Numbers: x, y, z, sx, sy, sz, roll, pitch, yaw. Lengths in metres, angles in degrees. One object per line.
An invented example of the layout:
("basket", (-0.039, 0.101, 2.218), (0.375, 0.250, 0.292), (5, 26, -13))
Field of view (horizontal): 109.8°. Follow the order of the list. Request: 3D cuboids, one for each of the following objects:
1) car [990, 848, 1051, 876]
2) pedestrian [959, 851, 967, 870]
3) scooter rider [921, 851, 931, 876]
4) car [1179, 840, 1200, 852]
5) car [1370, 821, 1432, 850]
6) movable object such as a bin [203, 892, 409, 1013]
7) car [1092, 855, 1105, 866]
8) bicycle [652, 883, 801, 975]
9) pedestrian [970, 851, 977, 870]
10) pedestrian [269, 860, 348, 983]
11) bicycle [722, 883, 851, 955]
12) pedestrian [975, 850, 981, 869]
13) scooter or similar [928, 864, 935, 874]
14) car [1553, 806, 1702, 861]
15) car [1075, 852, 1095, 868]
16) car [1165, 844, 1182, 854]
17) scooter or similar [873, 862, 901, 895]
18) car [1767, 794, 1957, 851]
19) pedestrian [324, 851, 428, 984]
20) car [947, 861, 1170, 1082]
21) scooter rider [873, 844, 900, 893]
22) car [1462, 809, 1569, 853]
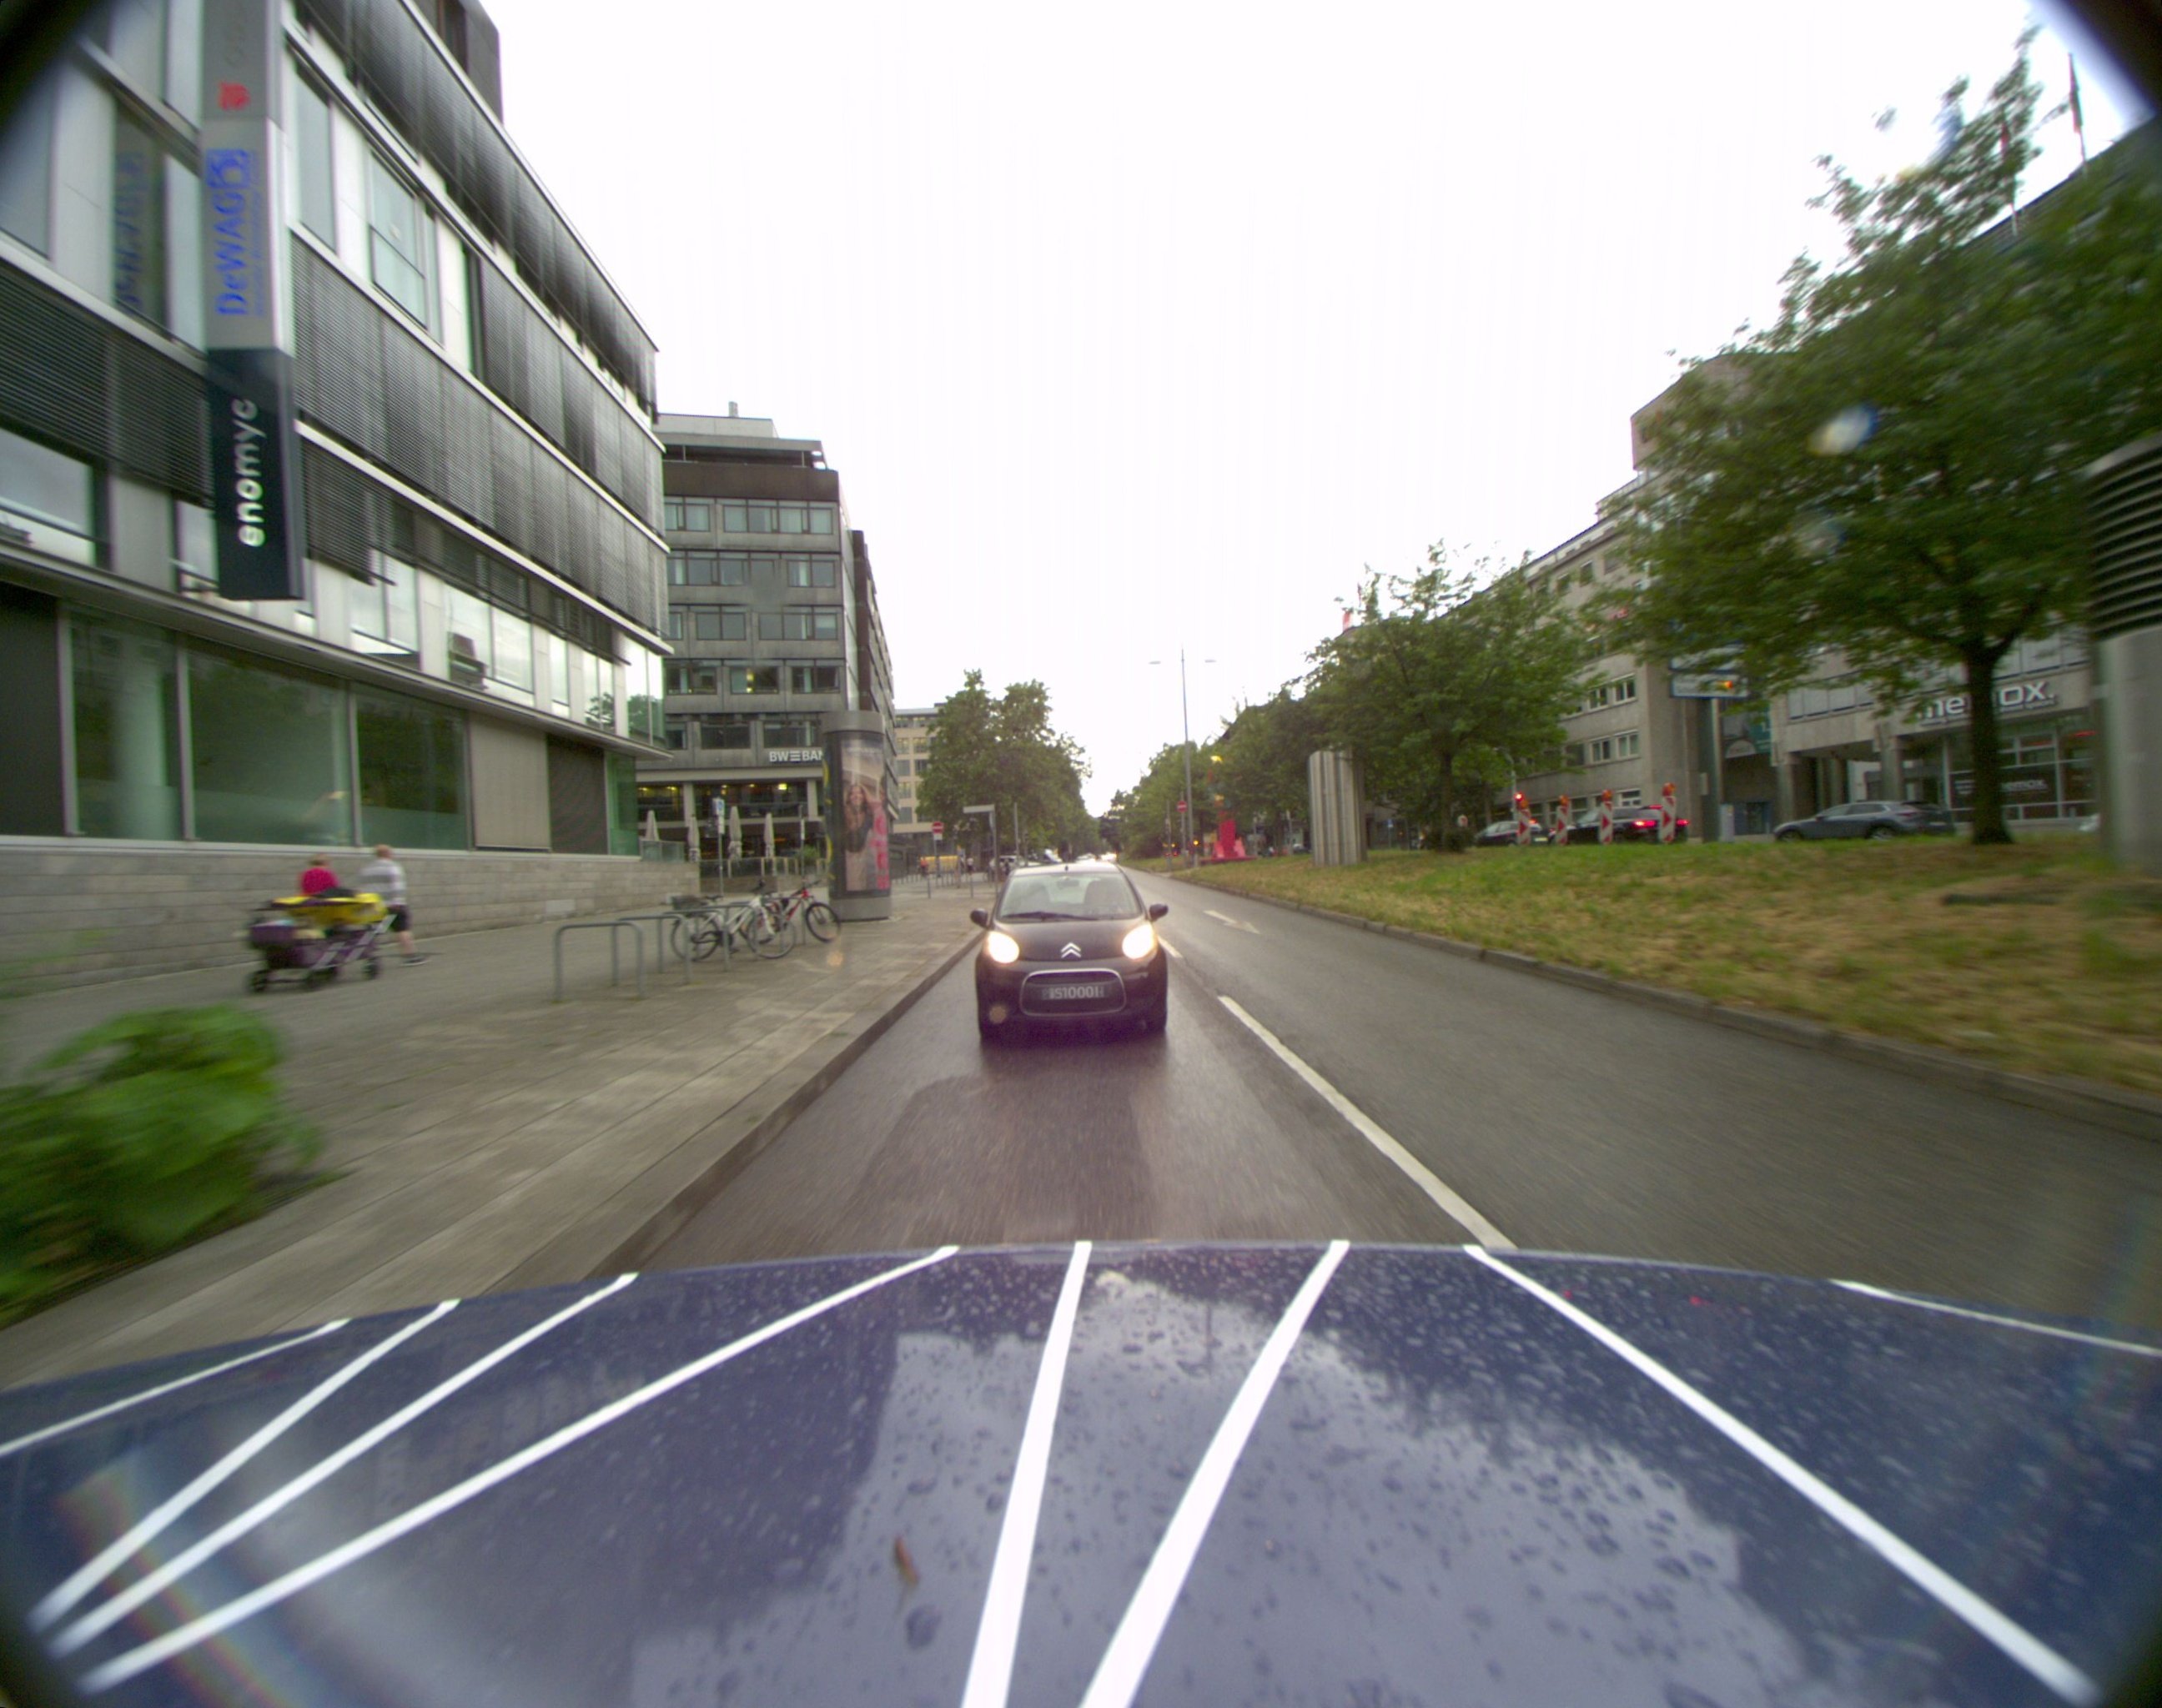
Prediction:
("car", (-4.663, 0.608, 58.569), (4.202, 1.802, 2.003), (-4, 1, 32))
("pedestrian", (-10.681, 0.578, 68.730), (0.552, 1.692, 0.547), (-2, 2, -1))
("scooter rider", (-12.995, 0.802, 63.712), (0.627, 2.013, 0.854), (-2, 1, -4))
("car", (15.397, -1.123, 107.926), (2.073, 1.578, 4.106), (-5, 1, -2))
("car", (19.713, -1.104, 47.032), (1.880, 1.571, 4.106), (-5, 1, -2))
("movable object such as a bin", (-9.681, 1.171, 9.612), (0.805, 1.258, 1.787), (-1, 1, -4))
("car", (2.595, 0.940, 113.790), (1.606, 1.377, 3.018), (-5, 1, -2))
("bicycle", (-5.085, 1.053, 11.003), (1.797, 1.200, 0.669), (-2, 1, -9))
("pedestrian", (-9.710, 0.542, 68.672), (0.452, 1.692, 0.497), (-2, 2, -1))
("pedestrian", (-11.025, 0.942, 10.859), (0.485, 1.689, 0.579), (-1, 1, -4))
("bicycle", (-4.958, 1.082, 12.873), (1.876, 1.104, 0.669), (-1, 1, -2))
("pedestrian", (-9.325, 0.525, 68.773), (0.452, 1.692, 0.497), (-2, 2, -1))
("scooter or similar", (-12.584, 1.236, 63.836), (0.408, 0.768, 1.276), (-2, 1, -4))
("car", (18.241, -0.650, 25.616), (1.880, 1.571, 4.106), (-5, 1, -2))
("car", (0.490, 0.672, 89.916), (2.073, 1.578, 4.106), (-5, 1, -2))
("car", (15.660, -0.870, 128.765), (2.073, 1.578, 4.106), (-5, 1, -2))
("scooter or similar", (-8.173, 1.007, 32.037), (0.780, 1.298, 1.335), (-2, 1, 1))
("car", (24.942, -0.931, 24.495), (1.575, 1.571, 4.105), (-5, 1, -6))
("pedestrian", (-10.062, 0.879, 10.878), (0.723, 1.820, 0.746), (-1, 1, -4))
("car", (-0.190, 0.897, 7.538), (1.595, 1.501, 3.708), (-3, 1, -1))
("scooter rider", (-8.189, 0.613, 32.028), (0.780, 2.009, 0.924), (-2, 1, 1))
("car", (17.865, -0.904, 31.510), (1.880, 1.571, 4.106), (-5, 1, -2))
